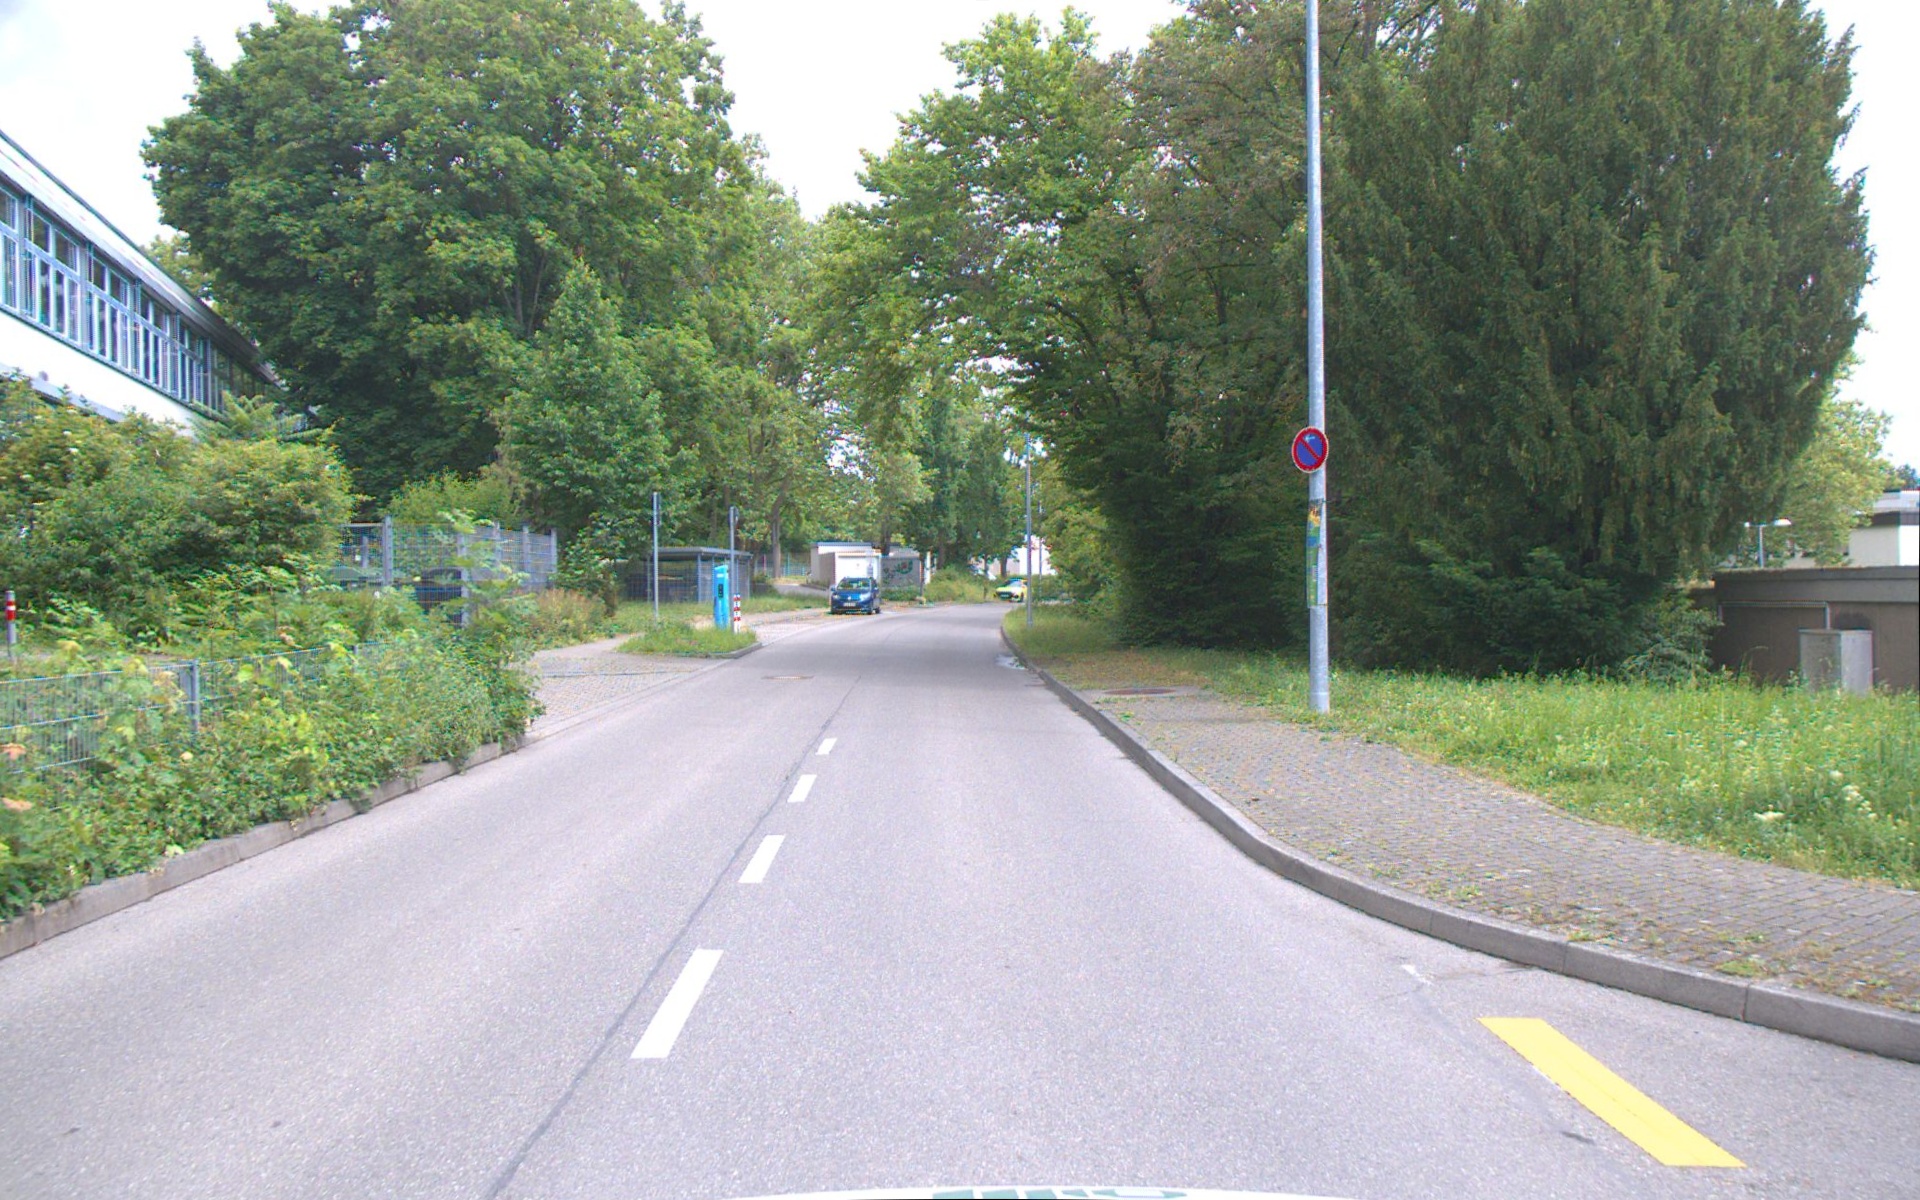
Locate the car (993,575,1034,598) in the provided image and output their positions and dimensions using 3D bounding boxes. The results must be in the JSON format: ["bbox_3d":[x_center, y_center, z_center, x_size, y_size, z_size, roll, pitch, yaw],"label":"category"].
[{"bbox_3d":[3.445,-0.824,106.243,1.664,1.427,4.276,1,0,16],"label":"car"}]

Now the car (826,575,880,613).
[{"bbox_3d":[-4.395,-0.258,68.754,1.644,1.538,4.434,0,0,4],"label":"car"}]
